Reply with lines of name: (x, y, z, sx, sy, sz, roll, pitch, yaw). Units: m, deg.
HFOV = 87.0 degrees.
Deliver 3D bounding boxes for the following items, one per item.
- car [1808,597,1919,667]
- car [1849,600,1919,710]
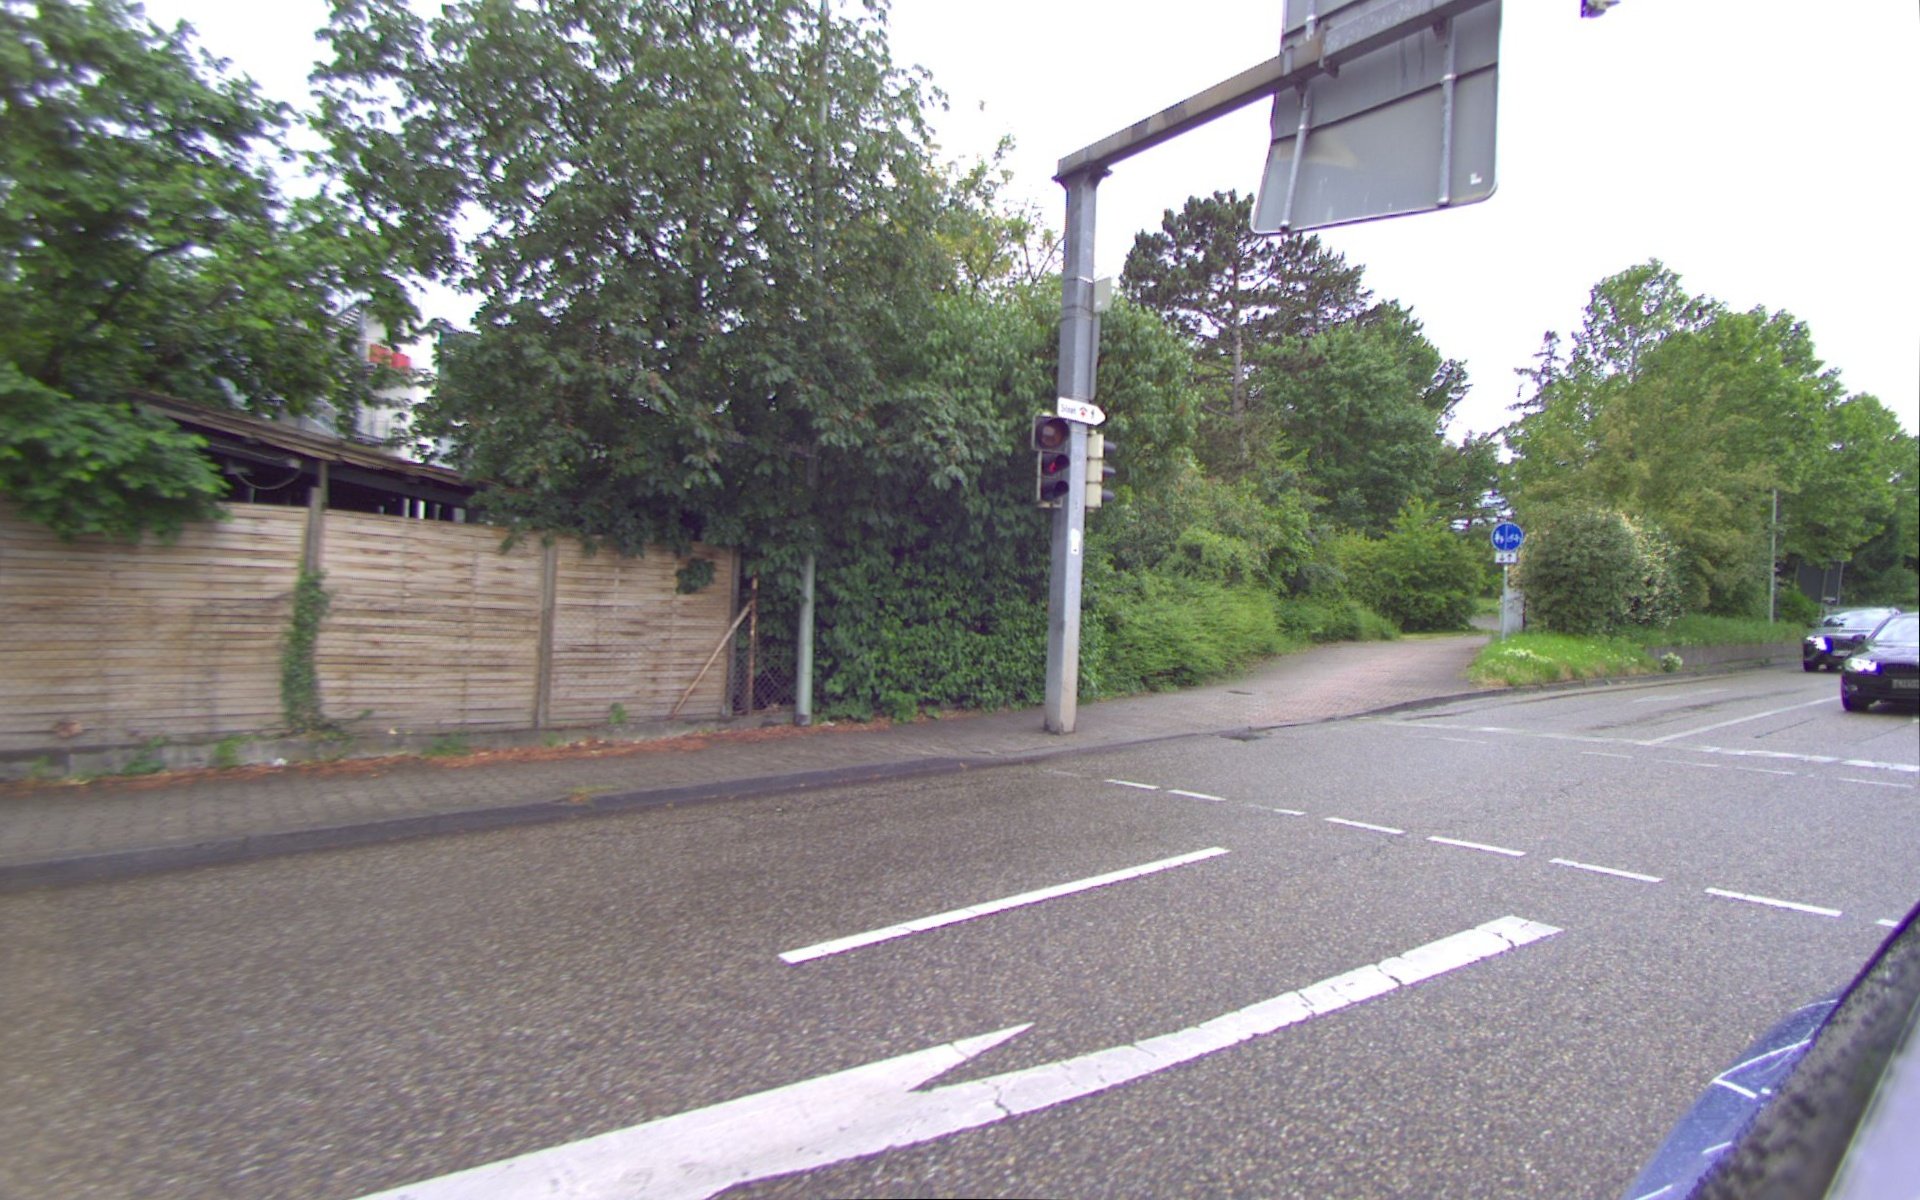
car: (23.002, 0.748, 25.679, 3.775, 1.642, 1.703, 0, 0, -41)
car: (14.867, 0.750, 15.020, 4.635, 1.478, 1.794, 0, 0, -39)
